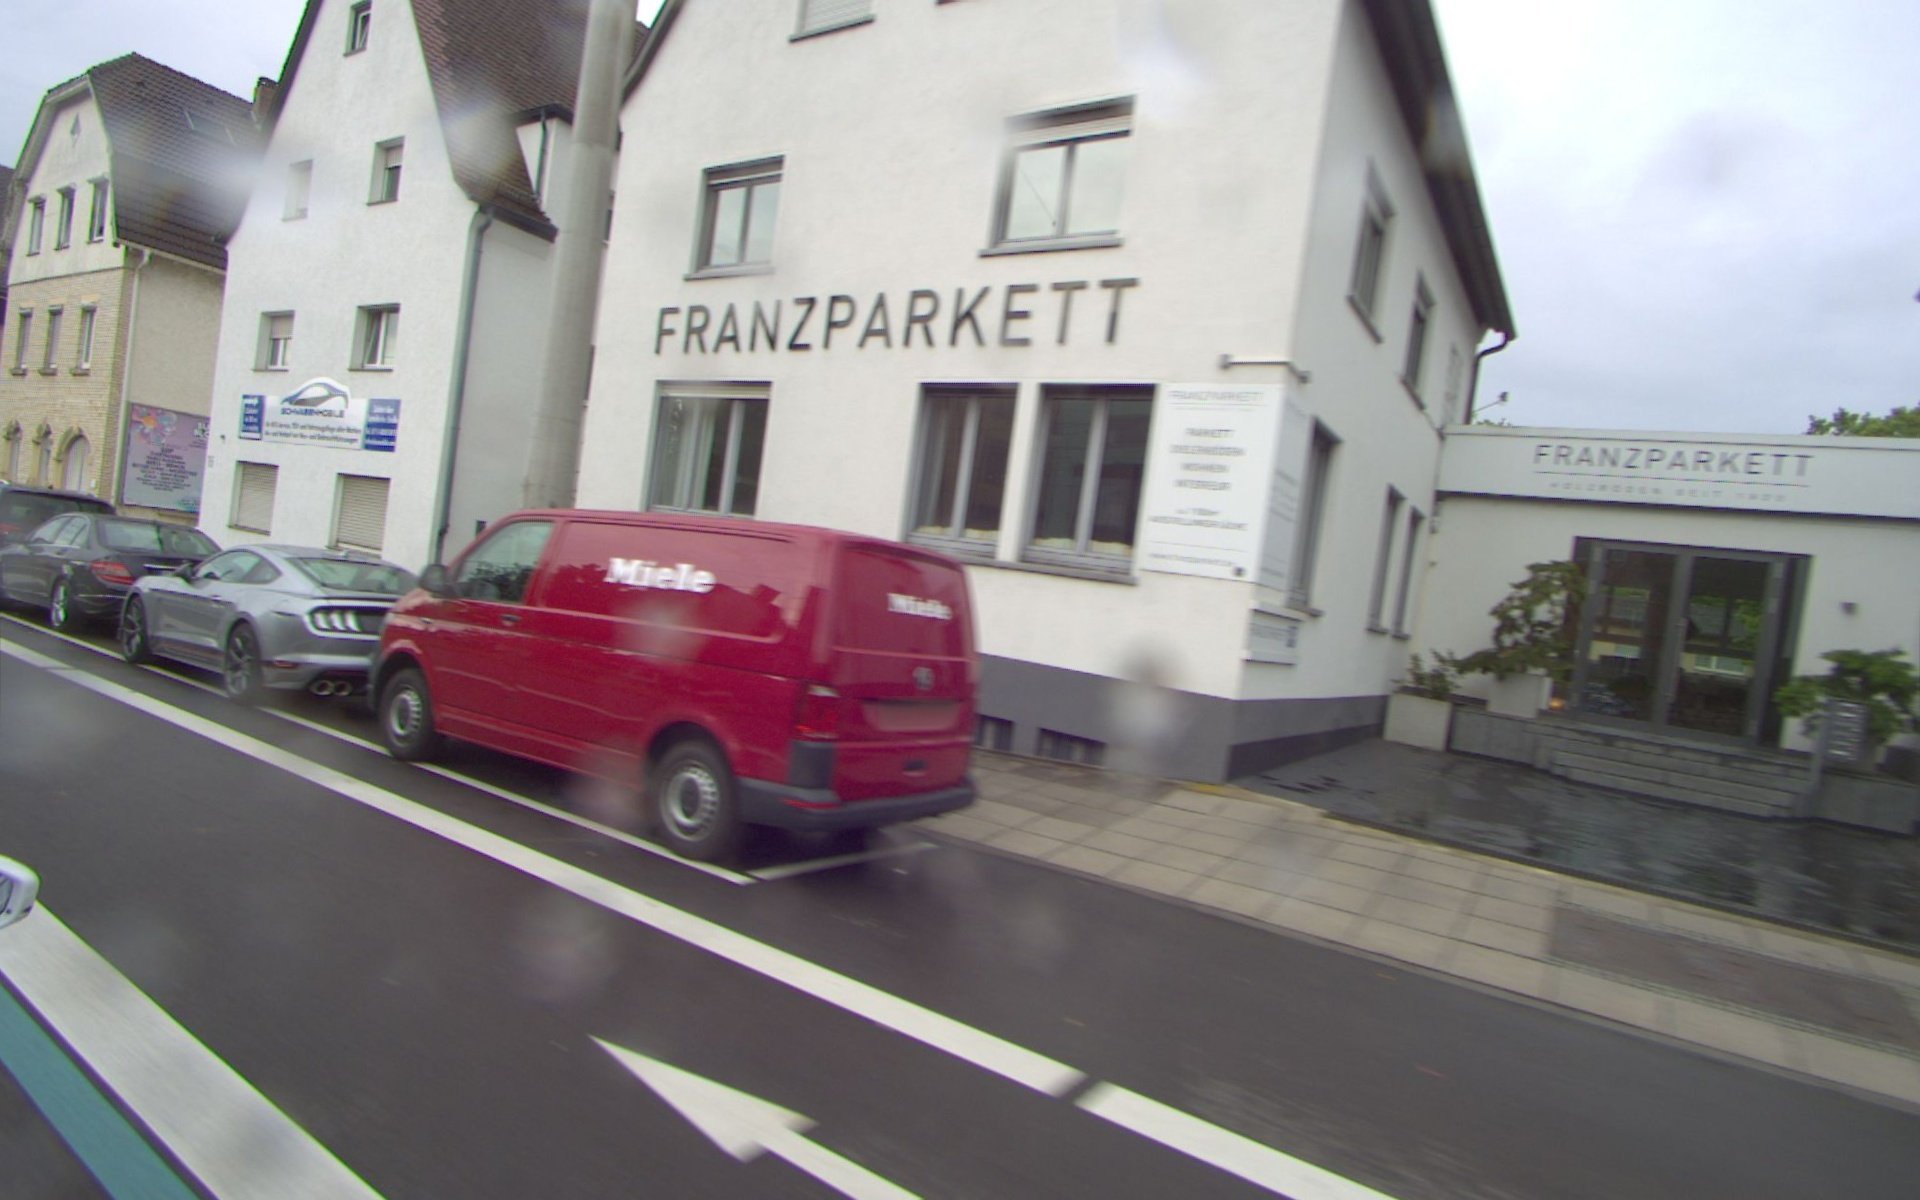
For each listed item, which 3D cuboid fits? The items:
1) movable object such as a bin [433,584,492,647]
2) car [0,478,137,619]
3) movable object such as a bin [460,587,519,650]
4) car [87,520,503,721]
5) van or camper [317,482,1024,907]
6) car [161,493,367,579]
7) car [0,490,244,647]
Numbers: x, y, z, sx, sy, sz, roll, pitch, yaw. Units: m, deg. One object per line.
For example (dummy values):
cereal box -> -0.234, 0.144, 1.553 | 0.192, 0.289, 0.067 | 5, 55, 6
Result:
movable object such as a bin -> -7.572, 0.240, 15.332 | 0.440, 0.890, 0.587 | 7, 1, 31
car -> -15.159, -0.953, 15.851 | 4.609, 1.820, 1.843 | 7, -2, 32
movable object such as a bin -> -7.111, 0.285, 15.203 | 0.440, 0.890, 0.587 | 7, 1, 31
car -> -6.777, 0.141, 10.070 | 4.596, 1.392, 1.798 | 7, -1, 35
van or camper -> -2.235, 0.382, 7.083 | 4.913, 1.944, 1.853 | 7, 0, 33
car -> -18.282, -1.625, 26.603 | 1.839, 1.674, 3.992 | 8, 1, 30
car -> -11.406, -0.468, 13.242 | 4.067, 1.555, 1.638 | 7, -2, 32
